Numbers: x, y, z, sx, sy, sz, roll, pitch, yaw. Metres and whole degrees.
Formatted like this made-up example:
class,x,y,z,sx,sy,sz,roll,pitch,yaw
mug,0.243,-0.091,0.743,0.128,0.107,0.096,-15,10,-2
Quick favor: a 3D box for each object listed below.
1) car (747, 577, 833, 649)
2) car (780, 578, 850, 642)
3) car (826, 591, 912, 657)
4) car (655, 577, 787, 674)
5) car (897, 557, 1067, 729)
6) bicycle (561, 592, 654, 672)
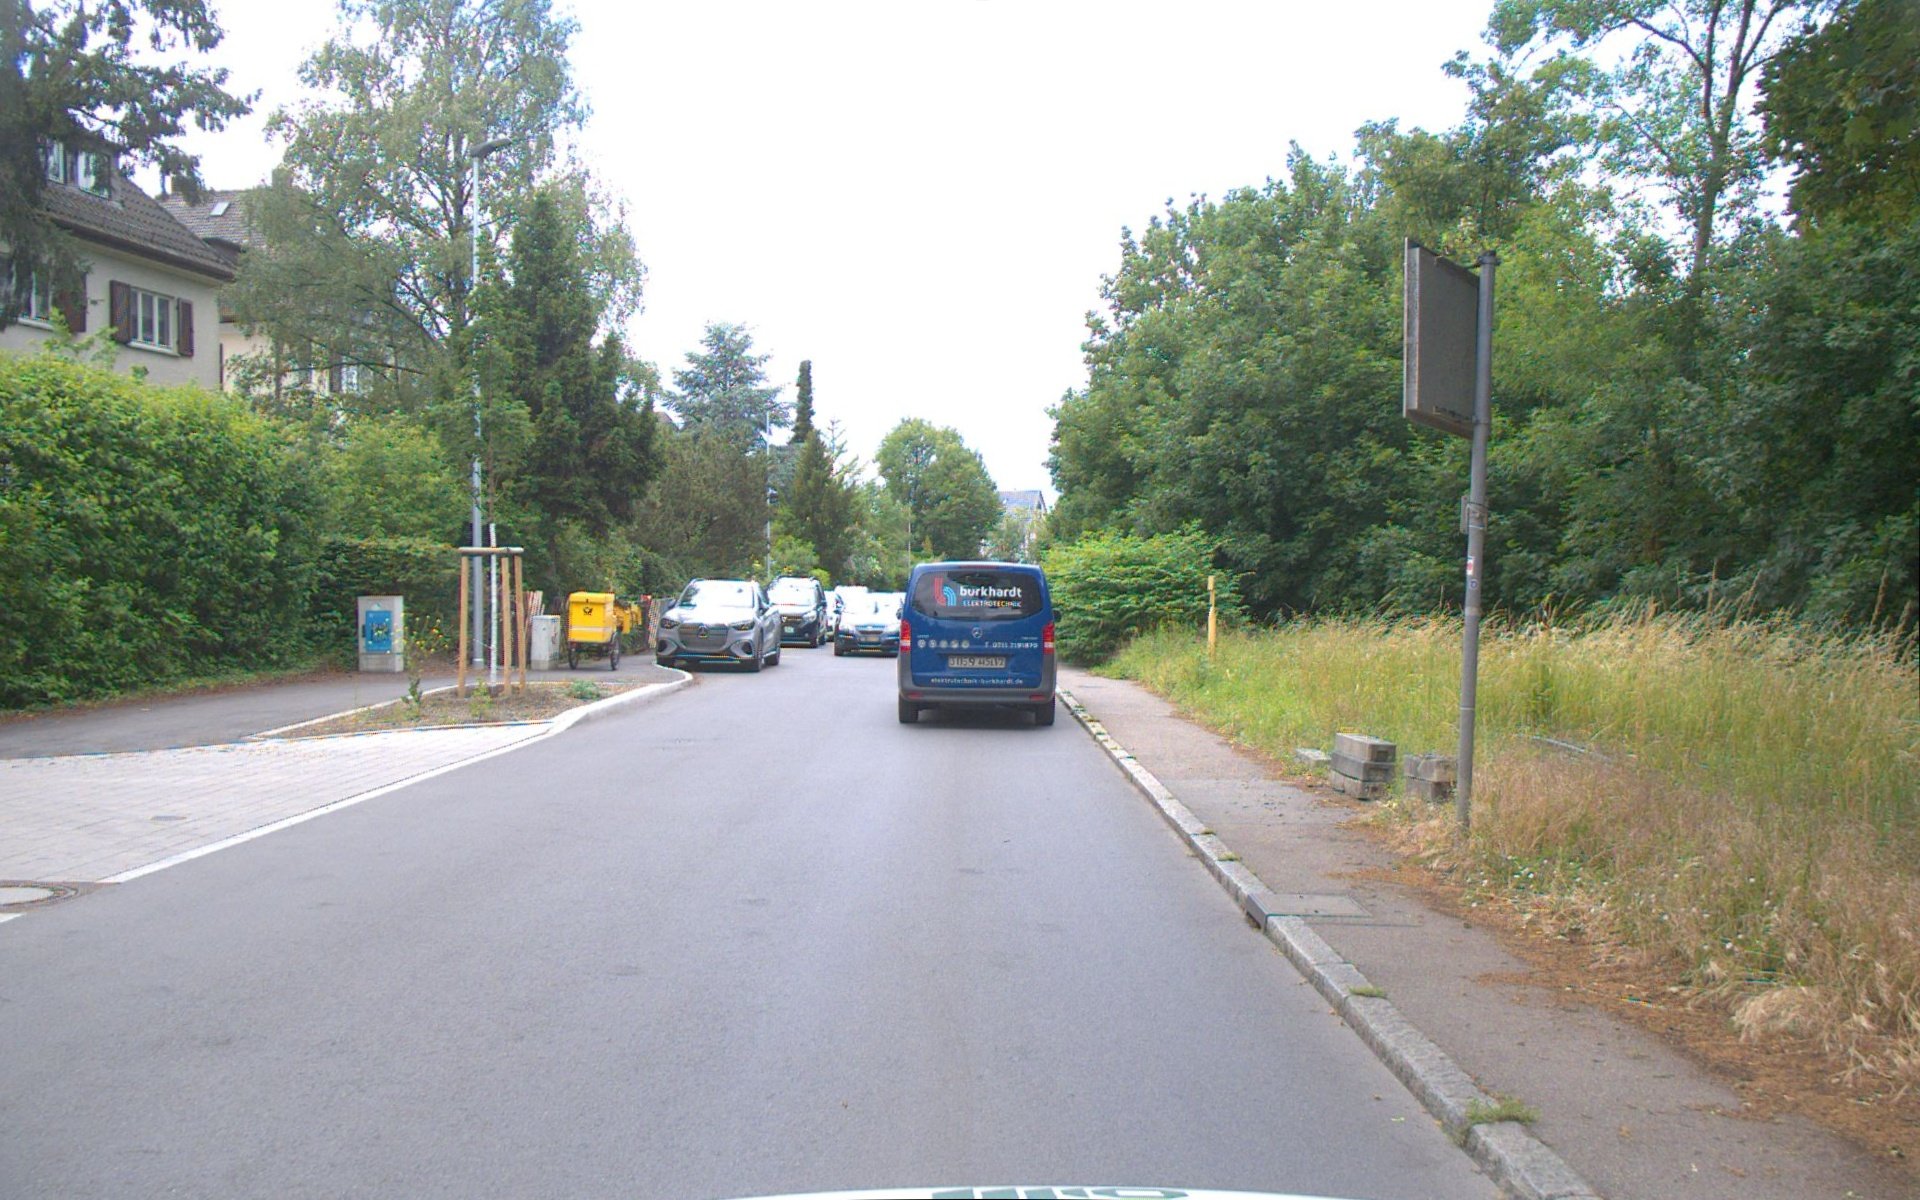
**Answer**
class,x,y,z,sx,sy,sz,roll,pitch,yaw
car,-4.489,0.311,44.124,1.794,1.782,4.000,1,1,0
car,-4.372,0.318,50.291,1.794,1.836,3.999,1,-1,-1
car,-2.152,0.550,39.893,1.782,1.469,4.000,1,0,0
car,-4.433,0.439,31.222,1.798,1.659,4.300,1,0,0
car,0.193,0.429,20.356,1.850,1.876,3.999,1,1,-2
bicycle,-5.991,0.520,28.278,0.887,1.273,2.916,2,0,0
